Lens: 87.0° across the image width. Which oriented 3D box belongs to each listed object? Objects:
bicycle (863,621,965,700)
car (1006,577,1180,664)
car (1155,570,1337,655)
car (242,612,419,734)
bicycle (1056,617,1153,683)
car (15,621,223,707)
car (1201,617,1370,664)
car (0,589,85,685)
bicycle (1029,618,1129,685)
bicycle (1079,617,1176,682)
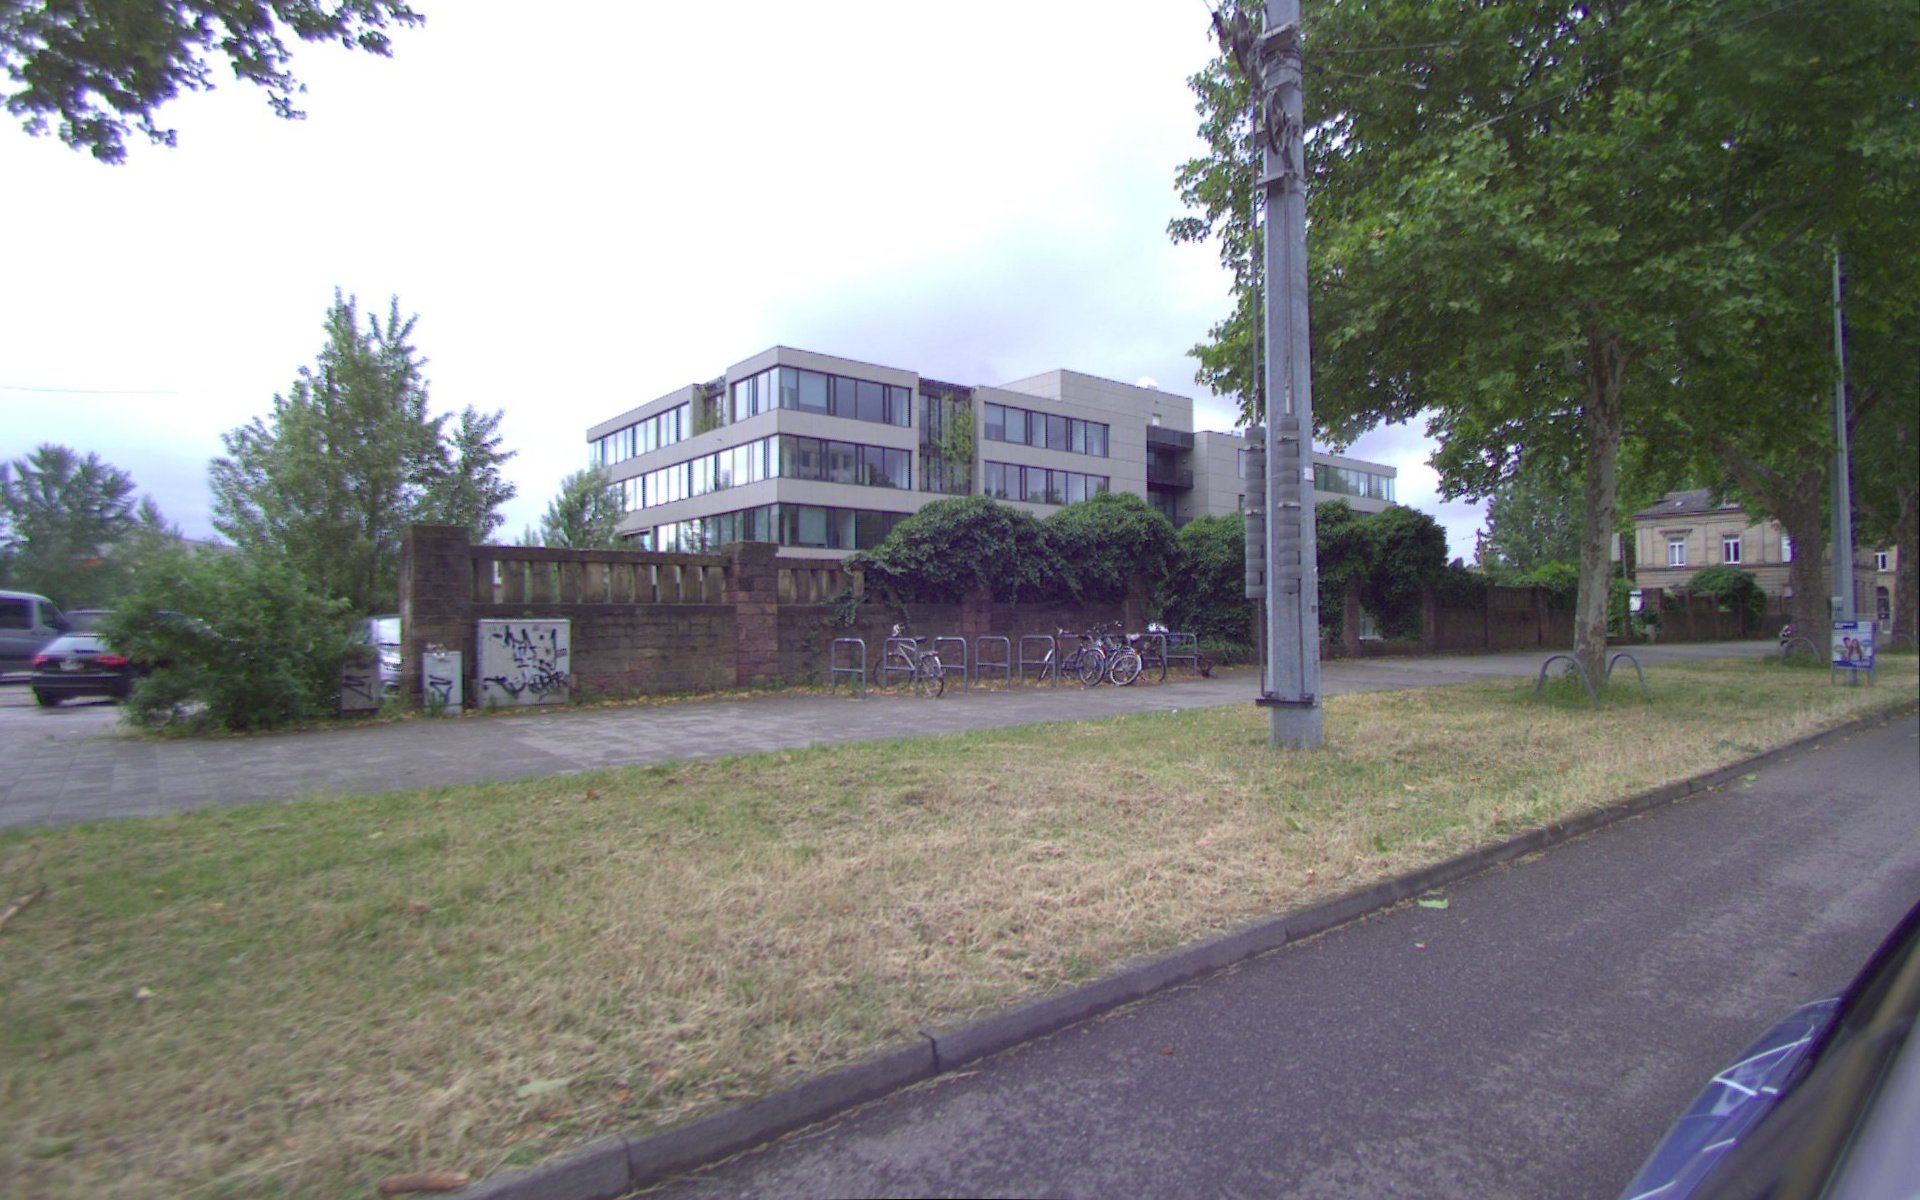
[{"bbox_3d":[-0.754,0.910,15.906,0.540,1.105,1.925,0,0,-40],"label":"bicycle"},{"bbox_3d":[3.708,0.612,29.148,1.637,2.293,5.101,0,-2,-41],"label":"car"},{"bbox_3d":[8.966,0.464,32.148,2.040,2.453,5.237,0,-3,-41],"label":"car"},{"bbox_3d":[-9.656,1.024,15.415,1.720,1.600,3.772,0,-2,-41],"label":"car"},{"bbox_3d":[2.661,0.903,18.837,0.540,1.111,1.903,0,0,-40],"label":"bicycle"},{"bbox_3d":[-17.100,1.224,20.857,1.958,1.538,4.008,0,-1,-18],"label":"car"},{"bbox_3d":[10.848,1.357,34.048,1.969,1.429,5.101,0,-2,-41],"label":"car"},{"bbox_3d":[-24.796,0.934,25.577,1.958,2.374,4.730,0,-1,-11],"label":"car"},{"bbox_3d":[2.141,0.912,18.483,0.540,1.108,1.978,0,0,-40],"label":"bicycle"},{"bbox_3d":[3.142,0.911,19.150,0.540,1.118,1.893,0,0,-40],"label":"bicycle"}]
